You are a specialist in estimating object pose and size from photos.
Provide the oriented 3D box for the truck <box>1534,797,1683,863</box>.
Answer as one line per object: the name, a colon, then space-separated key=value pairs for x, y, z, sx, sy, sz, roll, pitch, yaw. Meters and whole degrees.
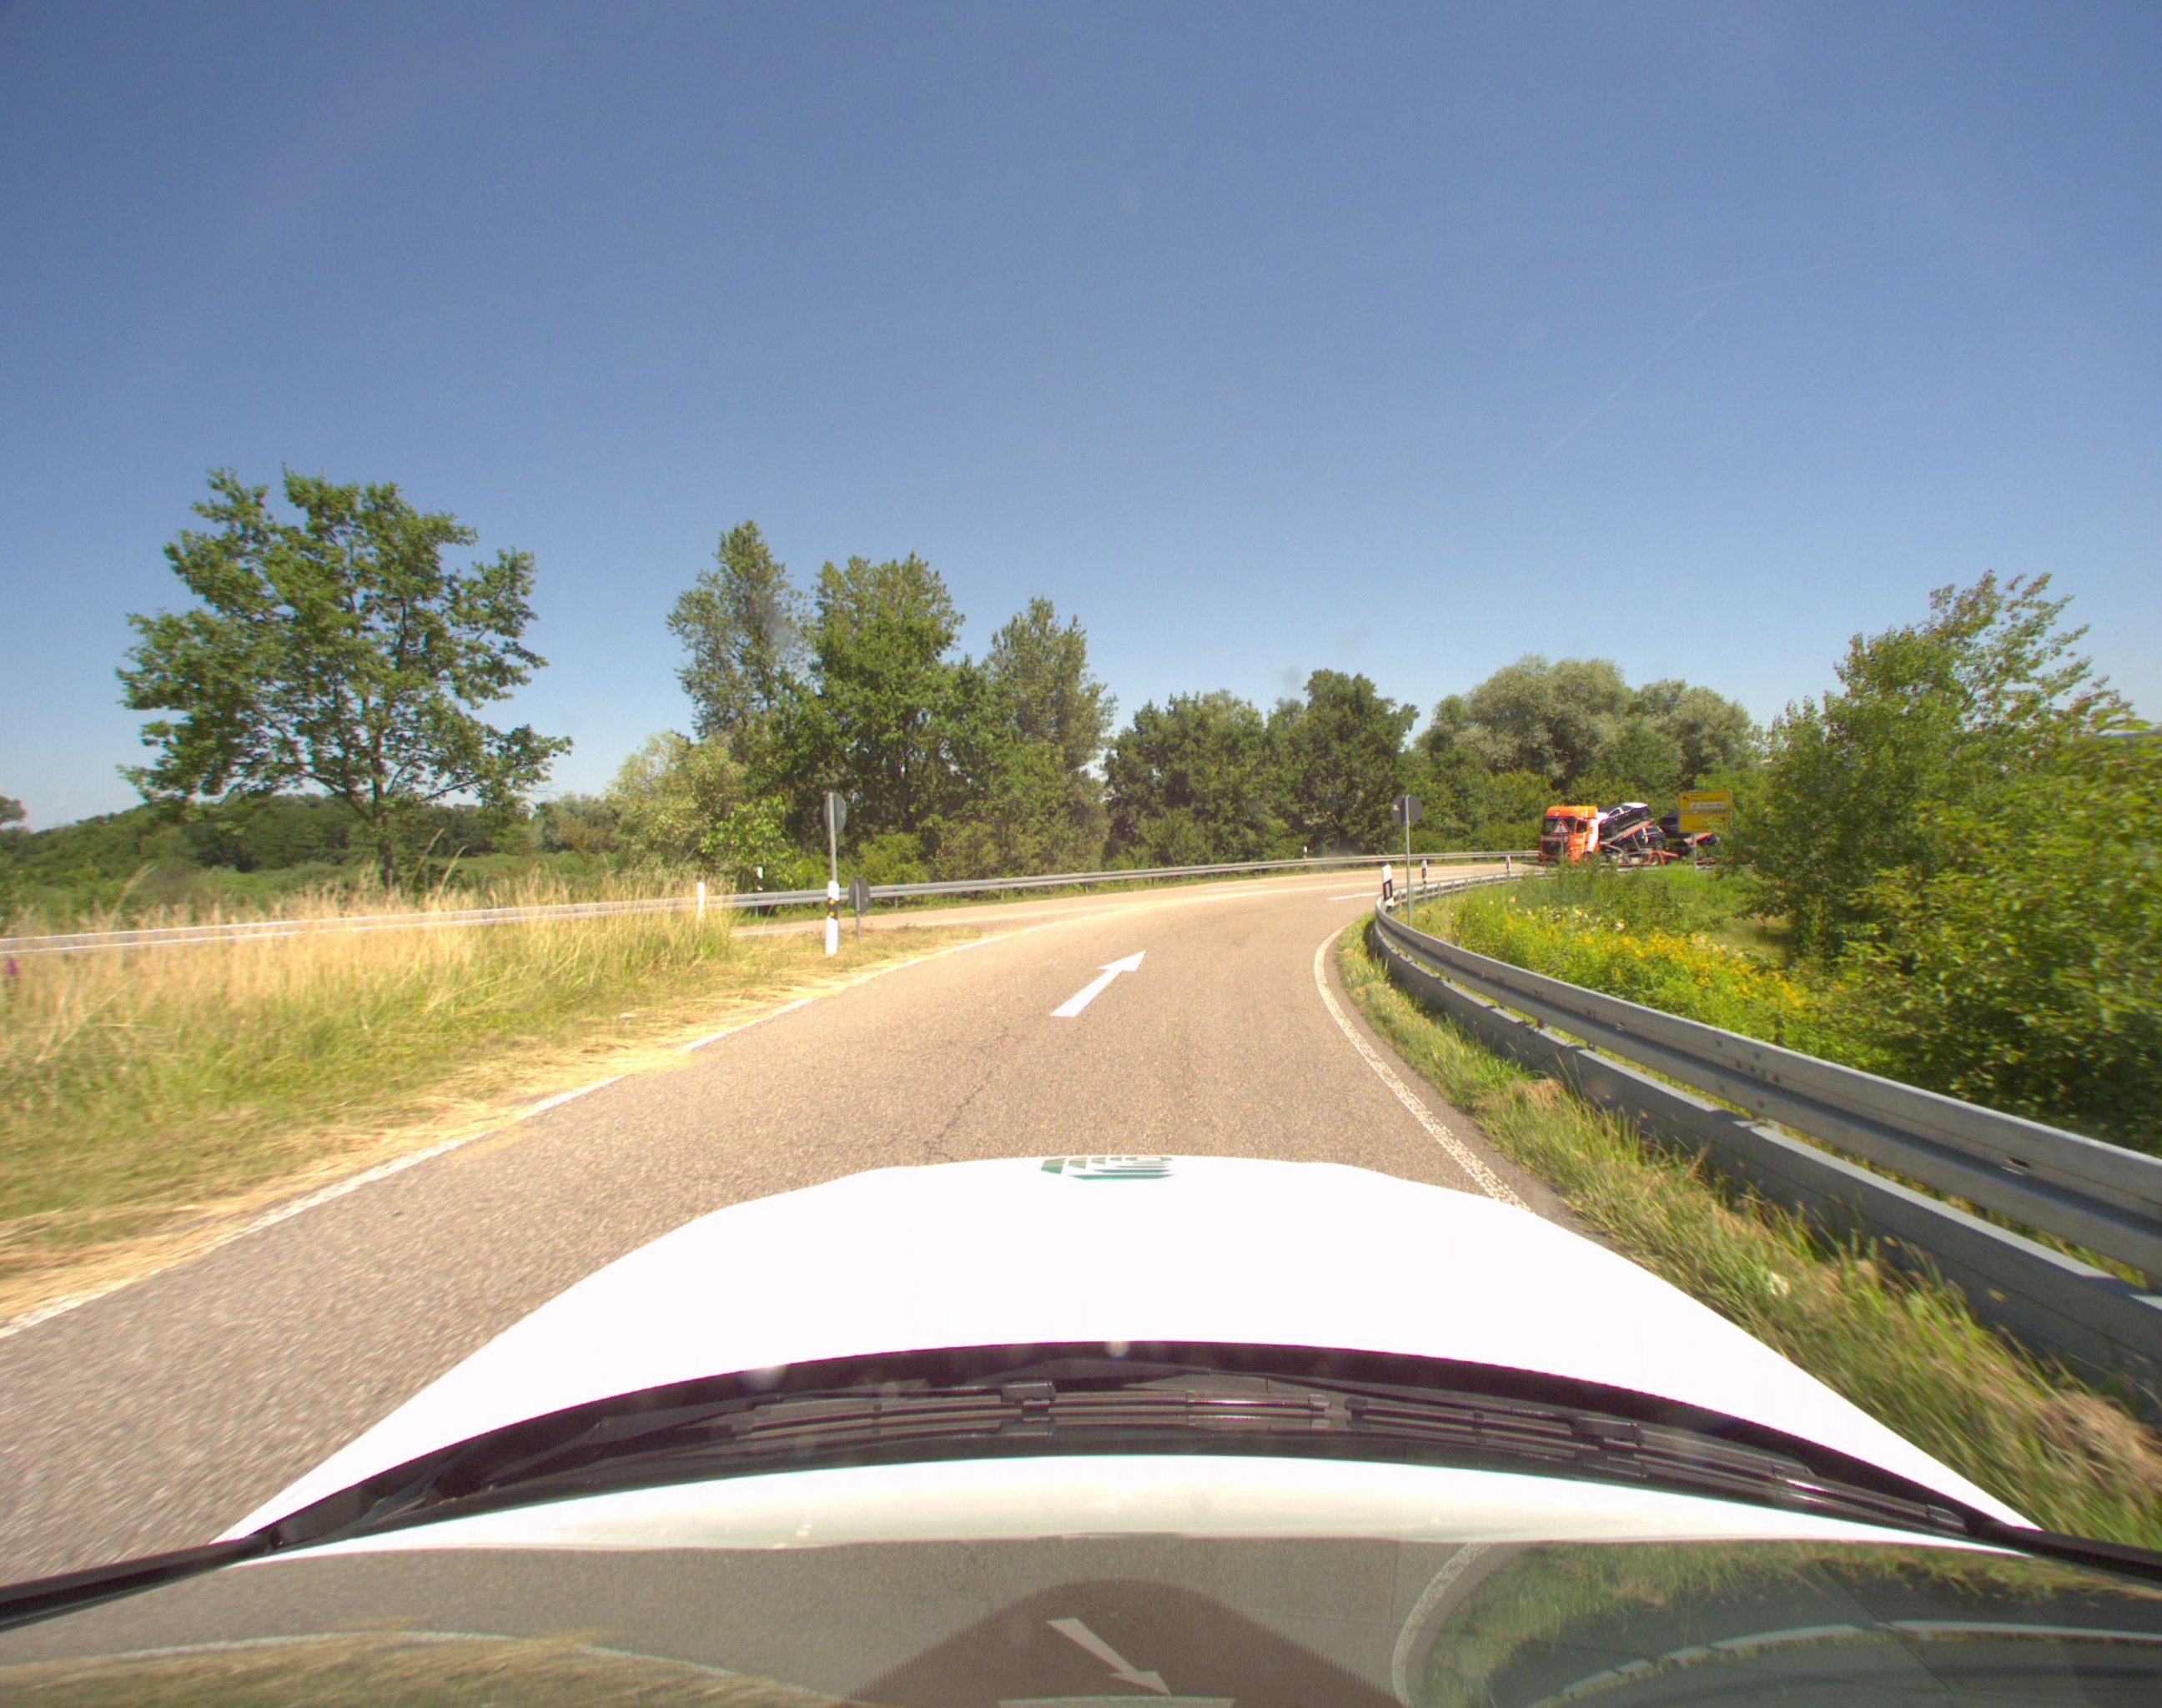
truck: x=32.937 y=-1.443 z=50.819 sx=8.772 sy=3.897 sz=2.783 roll=0 pitch=2 yaw=-18

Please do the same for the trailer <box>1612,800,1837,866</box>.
trailer: x=41.745 y=-1.345 z=52.839 sx=13.939 sy=3.897 sz=2.793 roll=1 pitch=2 yaw=-10
